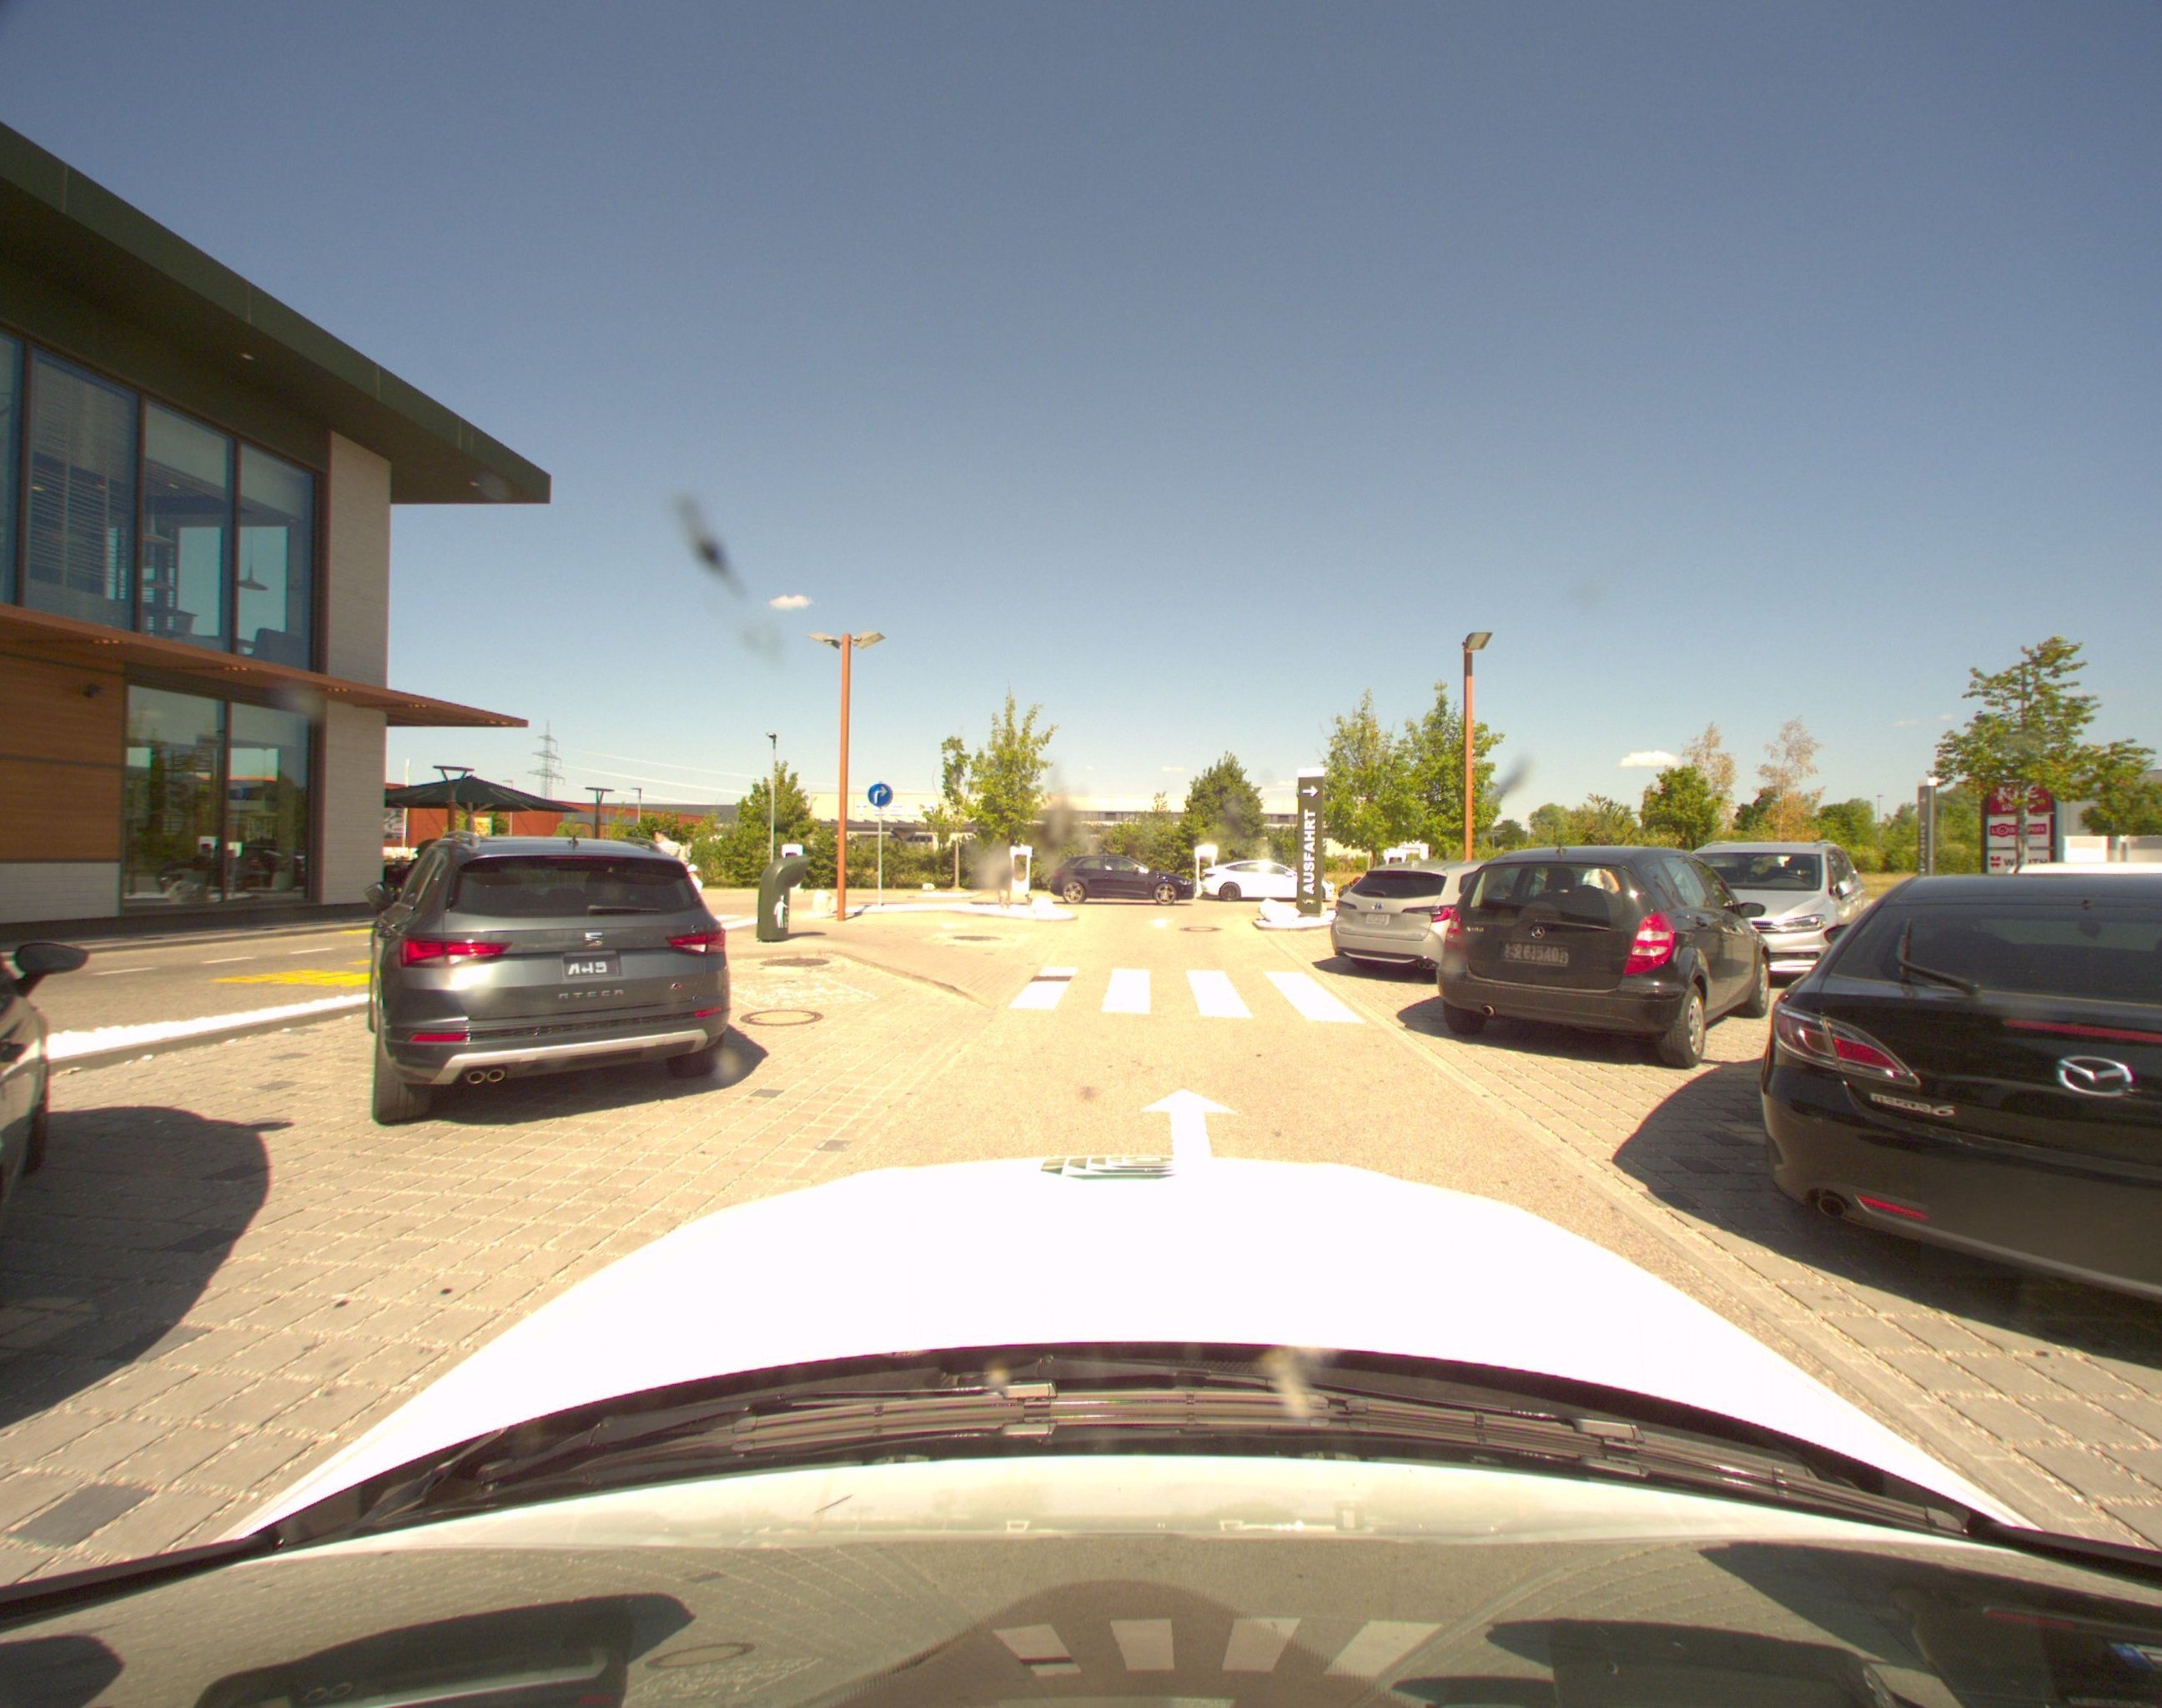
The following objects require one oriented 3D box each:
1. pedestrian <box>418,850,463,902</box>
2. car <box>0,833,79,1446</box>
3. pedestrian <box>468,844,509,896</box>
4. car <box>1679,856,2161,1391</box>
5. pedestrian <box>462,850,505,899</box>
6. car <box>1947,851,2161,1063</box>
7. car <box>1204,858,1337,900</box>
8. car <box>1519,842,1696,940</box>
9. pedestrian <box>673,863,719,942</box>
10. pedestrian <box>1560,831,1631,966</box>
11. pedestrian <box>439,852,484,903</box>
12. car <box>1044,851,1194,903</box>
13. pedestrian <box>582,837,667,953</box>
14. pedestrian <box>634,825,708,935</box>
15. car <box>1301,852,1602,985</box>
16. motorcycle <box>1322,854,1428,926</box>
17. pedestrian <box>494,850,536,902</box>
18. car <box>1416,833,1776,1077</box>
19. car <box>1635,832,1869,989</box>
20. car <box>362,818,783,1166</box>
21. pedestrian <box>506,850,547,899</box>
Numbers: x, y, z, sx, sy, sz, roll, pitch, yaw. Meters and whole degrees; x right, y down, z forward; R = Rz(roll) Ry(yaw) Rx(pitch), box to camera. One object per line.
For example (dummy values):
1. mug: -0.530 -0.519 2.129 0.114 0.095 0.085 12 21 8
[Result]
1. pedestrian: -15.835 0.527 20.143 0.521 1.258 0.716 0 0 0
2. car: -4.363 0.674 2.495 3.371 1.482 1.578 1 0 40
3. pedestrian: -14.557 0.381 20.013 0.521 1.258 0.634 0 0 0
4. car: 4.431 0.743 3.633 4.095 1.449 1.808 0 0 -38
5. pedestrian: -15.535 0.525 21.192 0.569 1.258 0.729 0 0 0
6. car: 8.736 0.687 6.889 4.104 1.408 1.772 0 0 -41
7. car: 6.539 0.842 28.518 4.410 1.377 1.826 0 0 7
8. car: 9.782 0.568 14.991 4.215 1.537 1.872 -1 0 -45
9. pedestrian: -5.947 0.739 12.592 0.488 1.186 0.448 0 0 -2
10. pedestrian: 6.755 0.562 10.701 0.565 1.713 0.604 0 -1 -33
11. pedestrian: -13.865 0.518 18.244 0.521 1.124 0.634 0 0 0
12. car: 1.140 0.674 23.651 4.179 1.441 1.701 0 -3 6
13. pedestrian: -6.499 0.562 11.615 0.721 1.584 0.744 0 0 14
14. pedestrian: -6.861 0.422 13.669 0.799 1.768 0.895 0 0 -4
15. car: 5.245 0.718 11.230 4.685 1.447 1.815 -1 0 -38
16. motorcycle: 5.791 0.656 15.978 2.265 1.250 1.058 -2 2 -44
17. pedestrian: -13.929 0.526 20.049 0.521 1.258 0.716 0 0 0
18. car: 4.809 0.670 7.359 4.022 1.593 1.790 0 0 -43
19. car: 8.773 0.582 10.524 4.089 1.640 1.727 0 0 -42
20. car: -3.946 0.609 5.937 1.800 1.603 4.177 3 0 -43
21. pedestrian: -14.343 0.524 21.074 0.569 1.258 0.729 0 0 0
